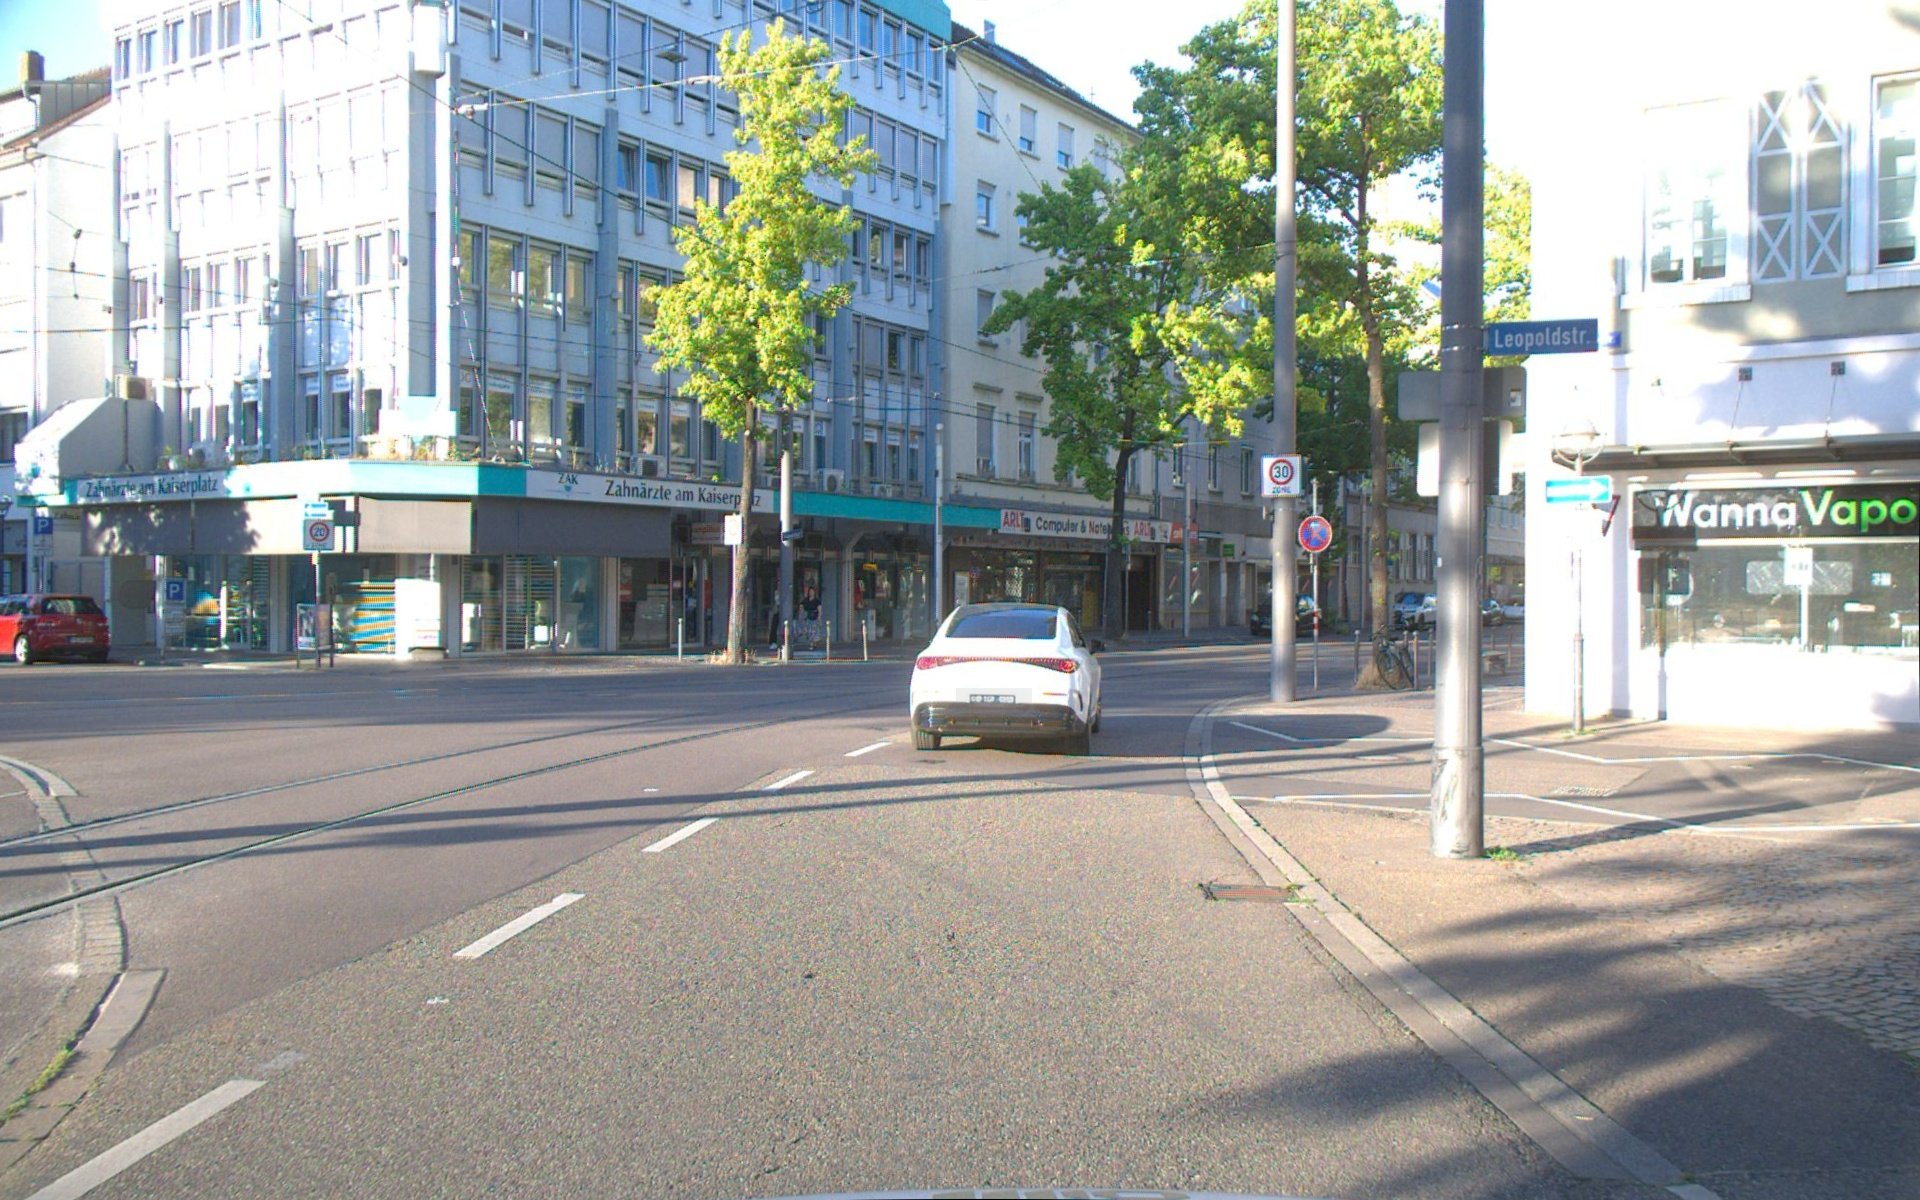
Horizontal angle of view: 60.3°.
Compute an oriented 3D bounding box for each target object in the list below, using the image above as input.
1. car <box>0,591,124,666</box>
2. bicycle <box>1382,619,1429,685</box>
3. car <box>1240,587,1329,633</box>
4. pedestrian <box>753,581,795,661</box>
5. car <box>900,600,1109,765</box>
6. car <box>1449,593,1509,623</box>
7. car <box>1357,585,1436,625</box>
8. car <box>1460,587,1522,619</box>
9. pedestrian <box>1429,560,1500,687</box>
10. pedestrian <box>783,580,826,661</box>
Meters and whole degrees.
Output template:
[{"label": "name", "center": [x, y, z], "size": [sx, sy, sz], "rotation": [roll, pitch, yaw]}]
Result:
[{"label": "car", "center": [-20.030, 0.574, 35.890], "size": [3.926, 1.511, 2.016], "rotation": [1, 0, 40]}, {"label": "bicycle", "center": [7.684, 0.886, 28.505], "size": [0.347, 1.095, 1.695], "rotation": [1, 0, 30]}, {"label": "car", "center": [12.539, 0.367, 63.747], "size": [1.928, 1.668, 3.987], "rotation": [1, 0, 34]}, {"label": "pedestrian", "center": [-4.796, 0.531, 42.697], "size": [0.783, 2.049, 0.731], "rotation": [1, 0, 35]}, {"label": "car", "center": [0.588, 0.767, 17.531], "size": [1.828, 1.494, 4.045], "rotation": [1, 0, 7]}, {"label": "car", "center": [26.755, 0.394, 85.204], "size": [1.926, 1.437, 4.836], "rotation": [1, 0, 31]}, {"label": "car", "center": [19.601, 0.215, 74.127], "size": [1.928, 1.668, 4.797], "rotation": [4, 2, 34]}, {"label": "car", "center": [29.125, 0.157, 90.627], "size": [1.913, 1.668, 4.892], "rotation": [1, 1, 35]}, {"label": "pedestrian", "center": [8.307, 0.377, 27.236], "size": [0.829, 2.049, 0.840], "rotation": [0, 0, 44]}, {"label": "pedestrian", "center": [-3.979, 0.525, 42.369], "size": [0.783, 2.049, 0.731], "rotation": [1, 0, 35]}]
